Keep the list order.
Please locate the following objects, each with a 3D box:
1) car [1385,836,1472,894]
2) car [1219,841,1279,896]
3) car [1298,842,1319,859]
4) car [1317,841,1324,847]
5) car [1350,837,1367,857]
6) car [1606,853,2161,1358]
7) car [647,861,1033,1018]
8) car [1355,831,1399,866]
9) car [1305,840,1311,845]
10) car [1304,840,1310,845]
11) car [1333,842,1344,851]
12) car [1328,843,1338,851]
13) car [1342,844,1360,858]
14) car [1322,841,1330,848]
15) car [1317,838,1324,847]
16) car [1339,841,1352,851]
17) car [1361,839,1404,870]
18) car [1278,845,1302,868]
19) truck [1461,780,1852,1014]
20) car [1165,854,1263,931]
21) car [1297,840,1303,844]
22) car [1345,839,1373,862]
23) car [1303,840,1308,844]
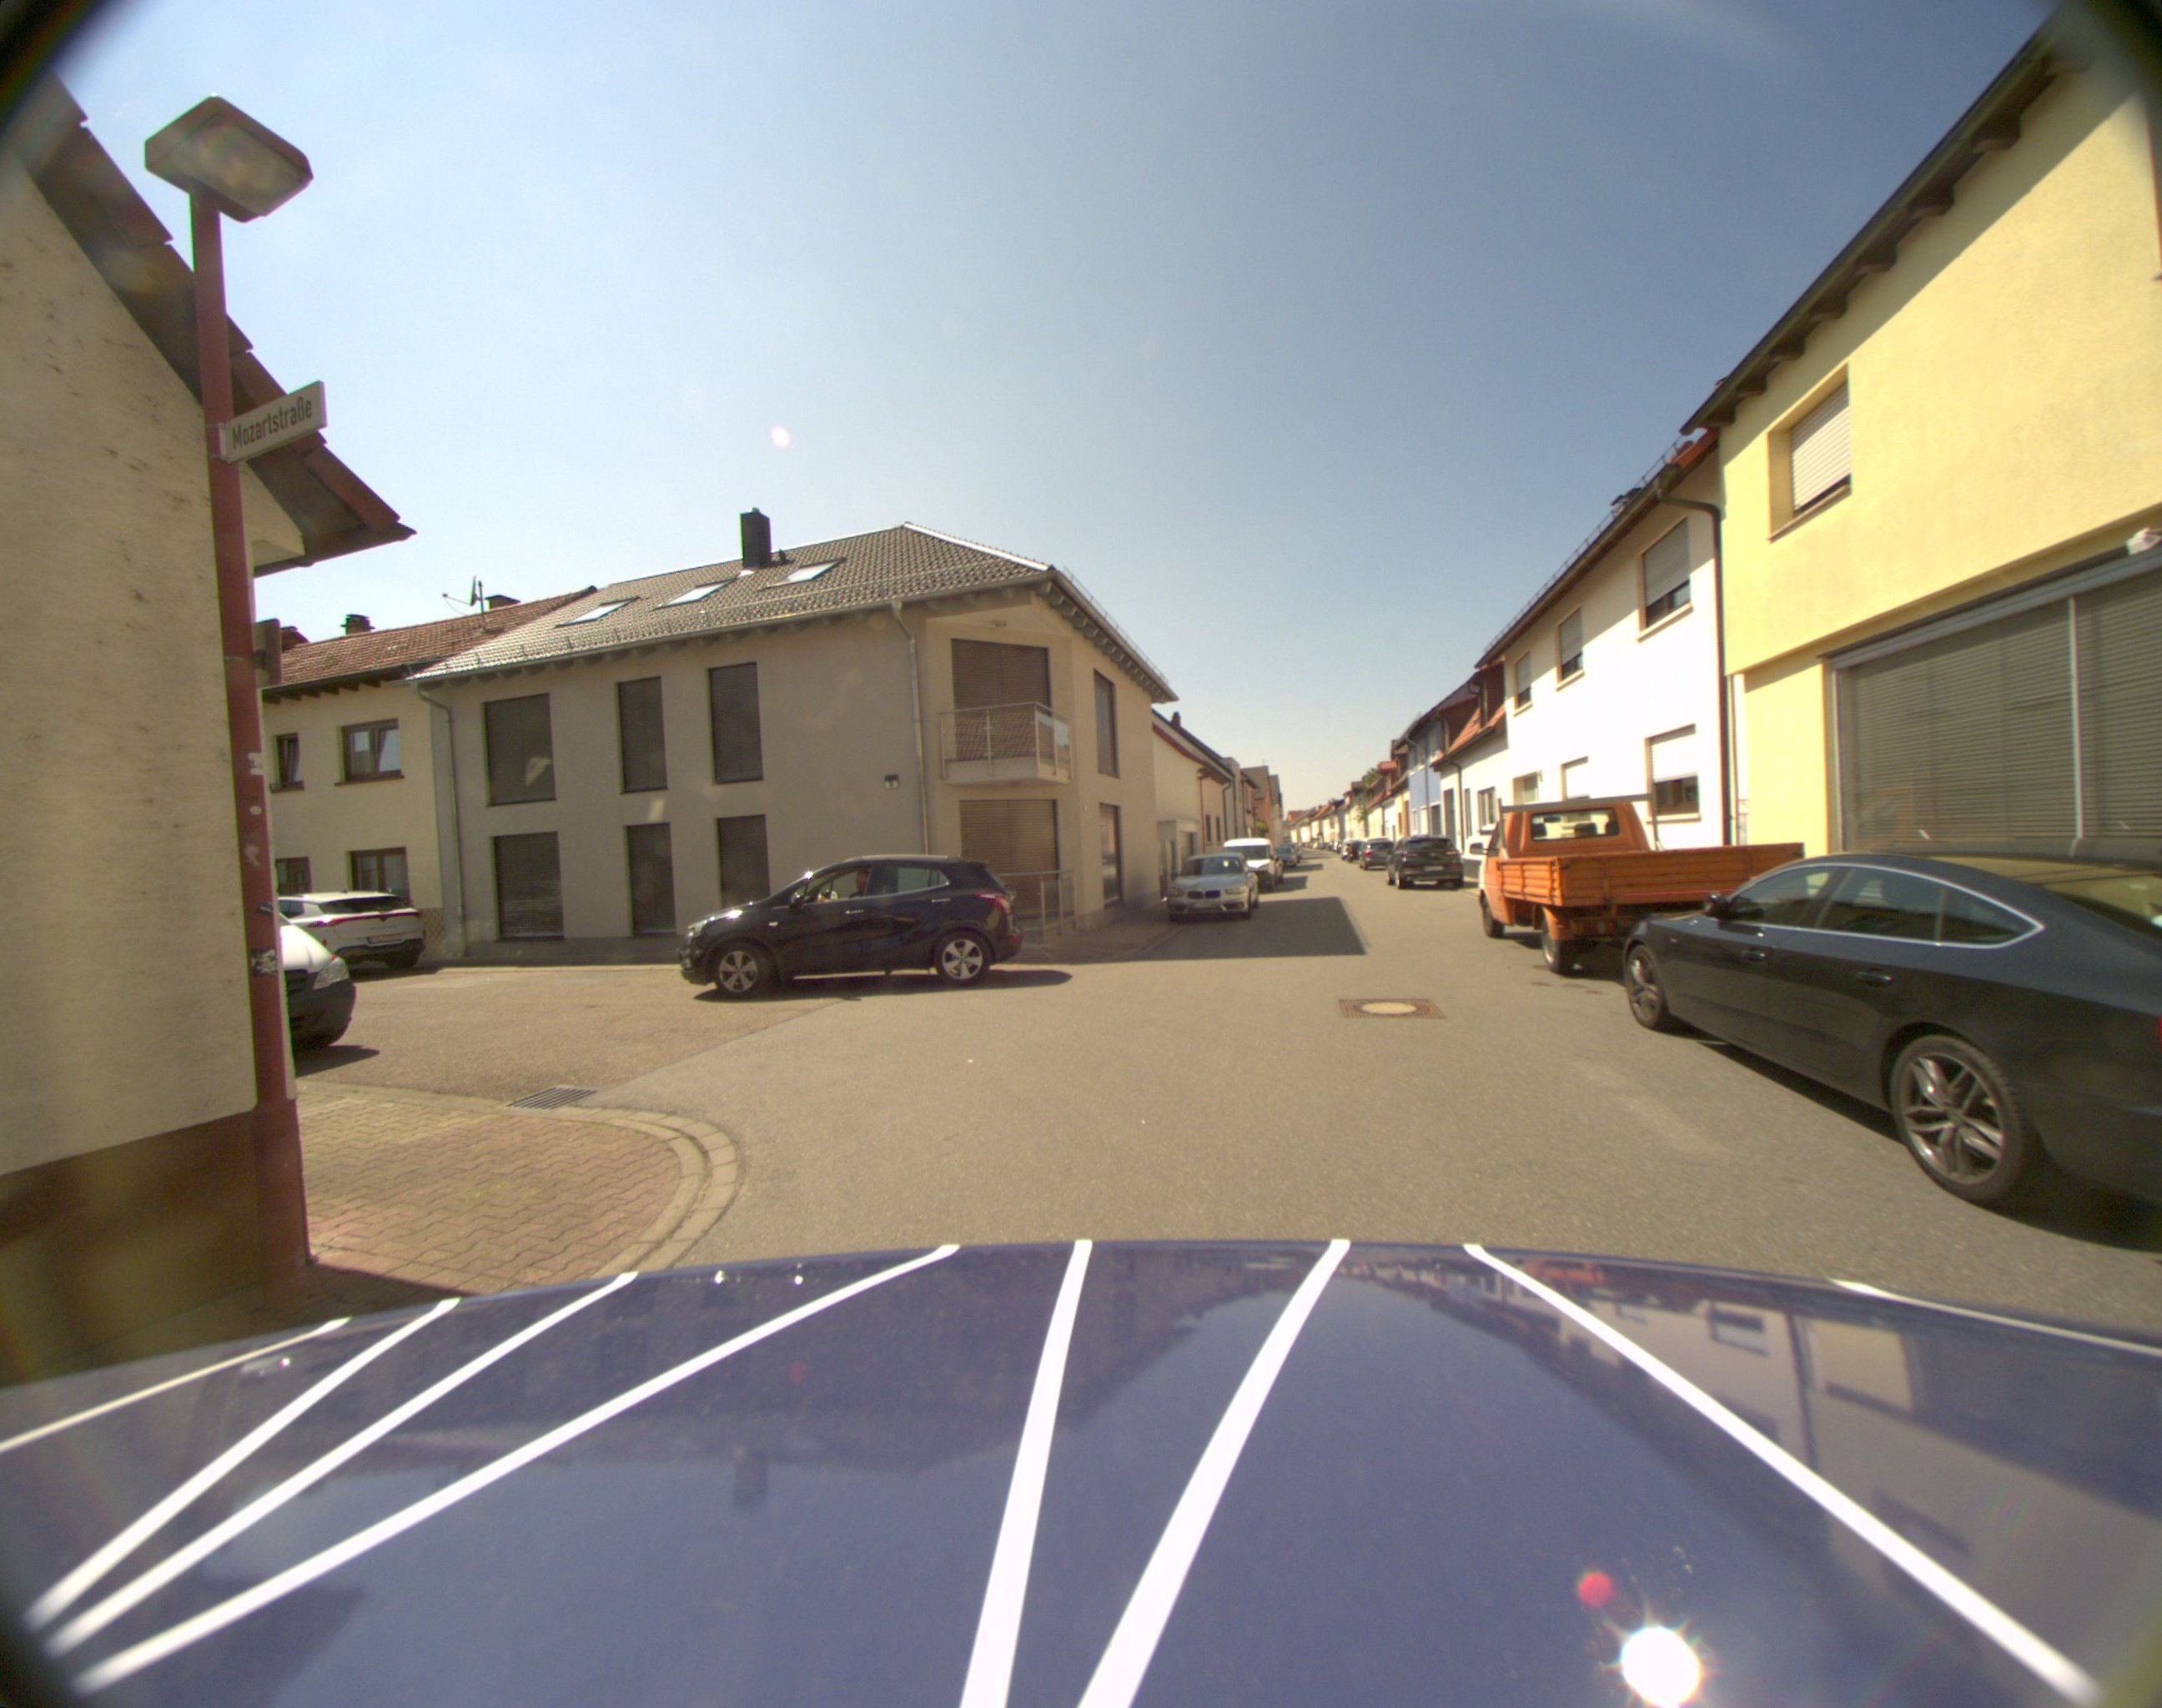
[{"bbox_3d":[10.711,0.306,23.711,1.847,1.605,4.004,-2,0,16],"label":"car"},{"bbox_3d":[5.807,0.438,25.974,1.682,1.719,3.791,-2,0,16],"label":"car"},{"bbox_3d":[22.392,-0.340,74.847,1.847,1.523,3.553,-2,0,16],"label":"car"},{"bbox_3d":[48.866,-1.963,155.080,1.294,1.177,2.967,-2,0,17],"label":"car"},{"bbox_3d":[25.580,-0.655,70.178,1.294,1.820,2.967,-2,0,17],"label":"car"},{"bbox_3d":[4.683,0.750,3.867,1.924,1.386,4.636,0,2,16],"label":"car"},{"bbox_3d":[-2.806,0.983,9.635,4.279,1.573,1.762,-3,-1,-5],"label":"car"},{"bbox_3d":[18.623,-0.398,47.932,1.996,2.002,4.003,-2,2,14],"label":"car"},{"bbox_3d":[55.382,-2.739,185.659,1.294,1.177,2.967,-2,0,17],"label":"car"},{"bbox_3d":[57.676,-2.975,194.083,1.294,1.177,2.967,-2,0,17],"label":"car"},{"bbox_3d":[34.537,-1.046,101.834,1.294,1.177,2.967,-2,0,17],"label":"car"},{"bbox_3d":[38.698,-1.088,116.730,1.294,1.177,2.967,-2,0,17],"label":"car"},{"bbox_3d":[22.361,-0.231,63.018,1.294,1.070,2.768,-2,0,17],"label":"car"},{"bbox_3d":[44.789,-1.728,138.705,1.294,1.177,2.967,-2,0,17],"label":"car"},{"bbox_3d":[51.758,-2.488,163.943,1.294,1.684,2.966,-2,0,16],"label":"car"},{"bbox_3d":[31.676,-0.937,91.004,1.294,1.177,2.967,-2,0,17],"label":"car"},{"bbox_3d":[15.892,0.017,40.243,1.722,1.493,4.220,-2,0,17],"label":"car"},{"bbox_3d":[14.298,0.130,51.920,1.520,1.417,3.868,-2,0,16],"label":"car"},{"bbox_3d":[6.289,0.341,9.222,2.185,2.002,5.085,-2,1,18],"label":"truck"},{"bbox_3d":[3.139,0.796,17.319,1.636,1.360,3.932,-4,0,17],"label":"car"},{"bbox_3d":[61.924,-3.422,214.915,1.294,1.177,2.965,-2,0,10],"label":"car"},{"bbox_3d":[20.580,-0.268,56.372,1.675,1.565,4.112,-2,1,17],"label":"car"},{"bbox_3d":[60.478,-3.199,204.872,1.294,1.177,2.967,-2,0,17],"label":"car"}]
